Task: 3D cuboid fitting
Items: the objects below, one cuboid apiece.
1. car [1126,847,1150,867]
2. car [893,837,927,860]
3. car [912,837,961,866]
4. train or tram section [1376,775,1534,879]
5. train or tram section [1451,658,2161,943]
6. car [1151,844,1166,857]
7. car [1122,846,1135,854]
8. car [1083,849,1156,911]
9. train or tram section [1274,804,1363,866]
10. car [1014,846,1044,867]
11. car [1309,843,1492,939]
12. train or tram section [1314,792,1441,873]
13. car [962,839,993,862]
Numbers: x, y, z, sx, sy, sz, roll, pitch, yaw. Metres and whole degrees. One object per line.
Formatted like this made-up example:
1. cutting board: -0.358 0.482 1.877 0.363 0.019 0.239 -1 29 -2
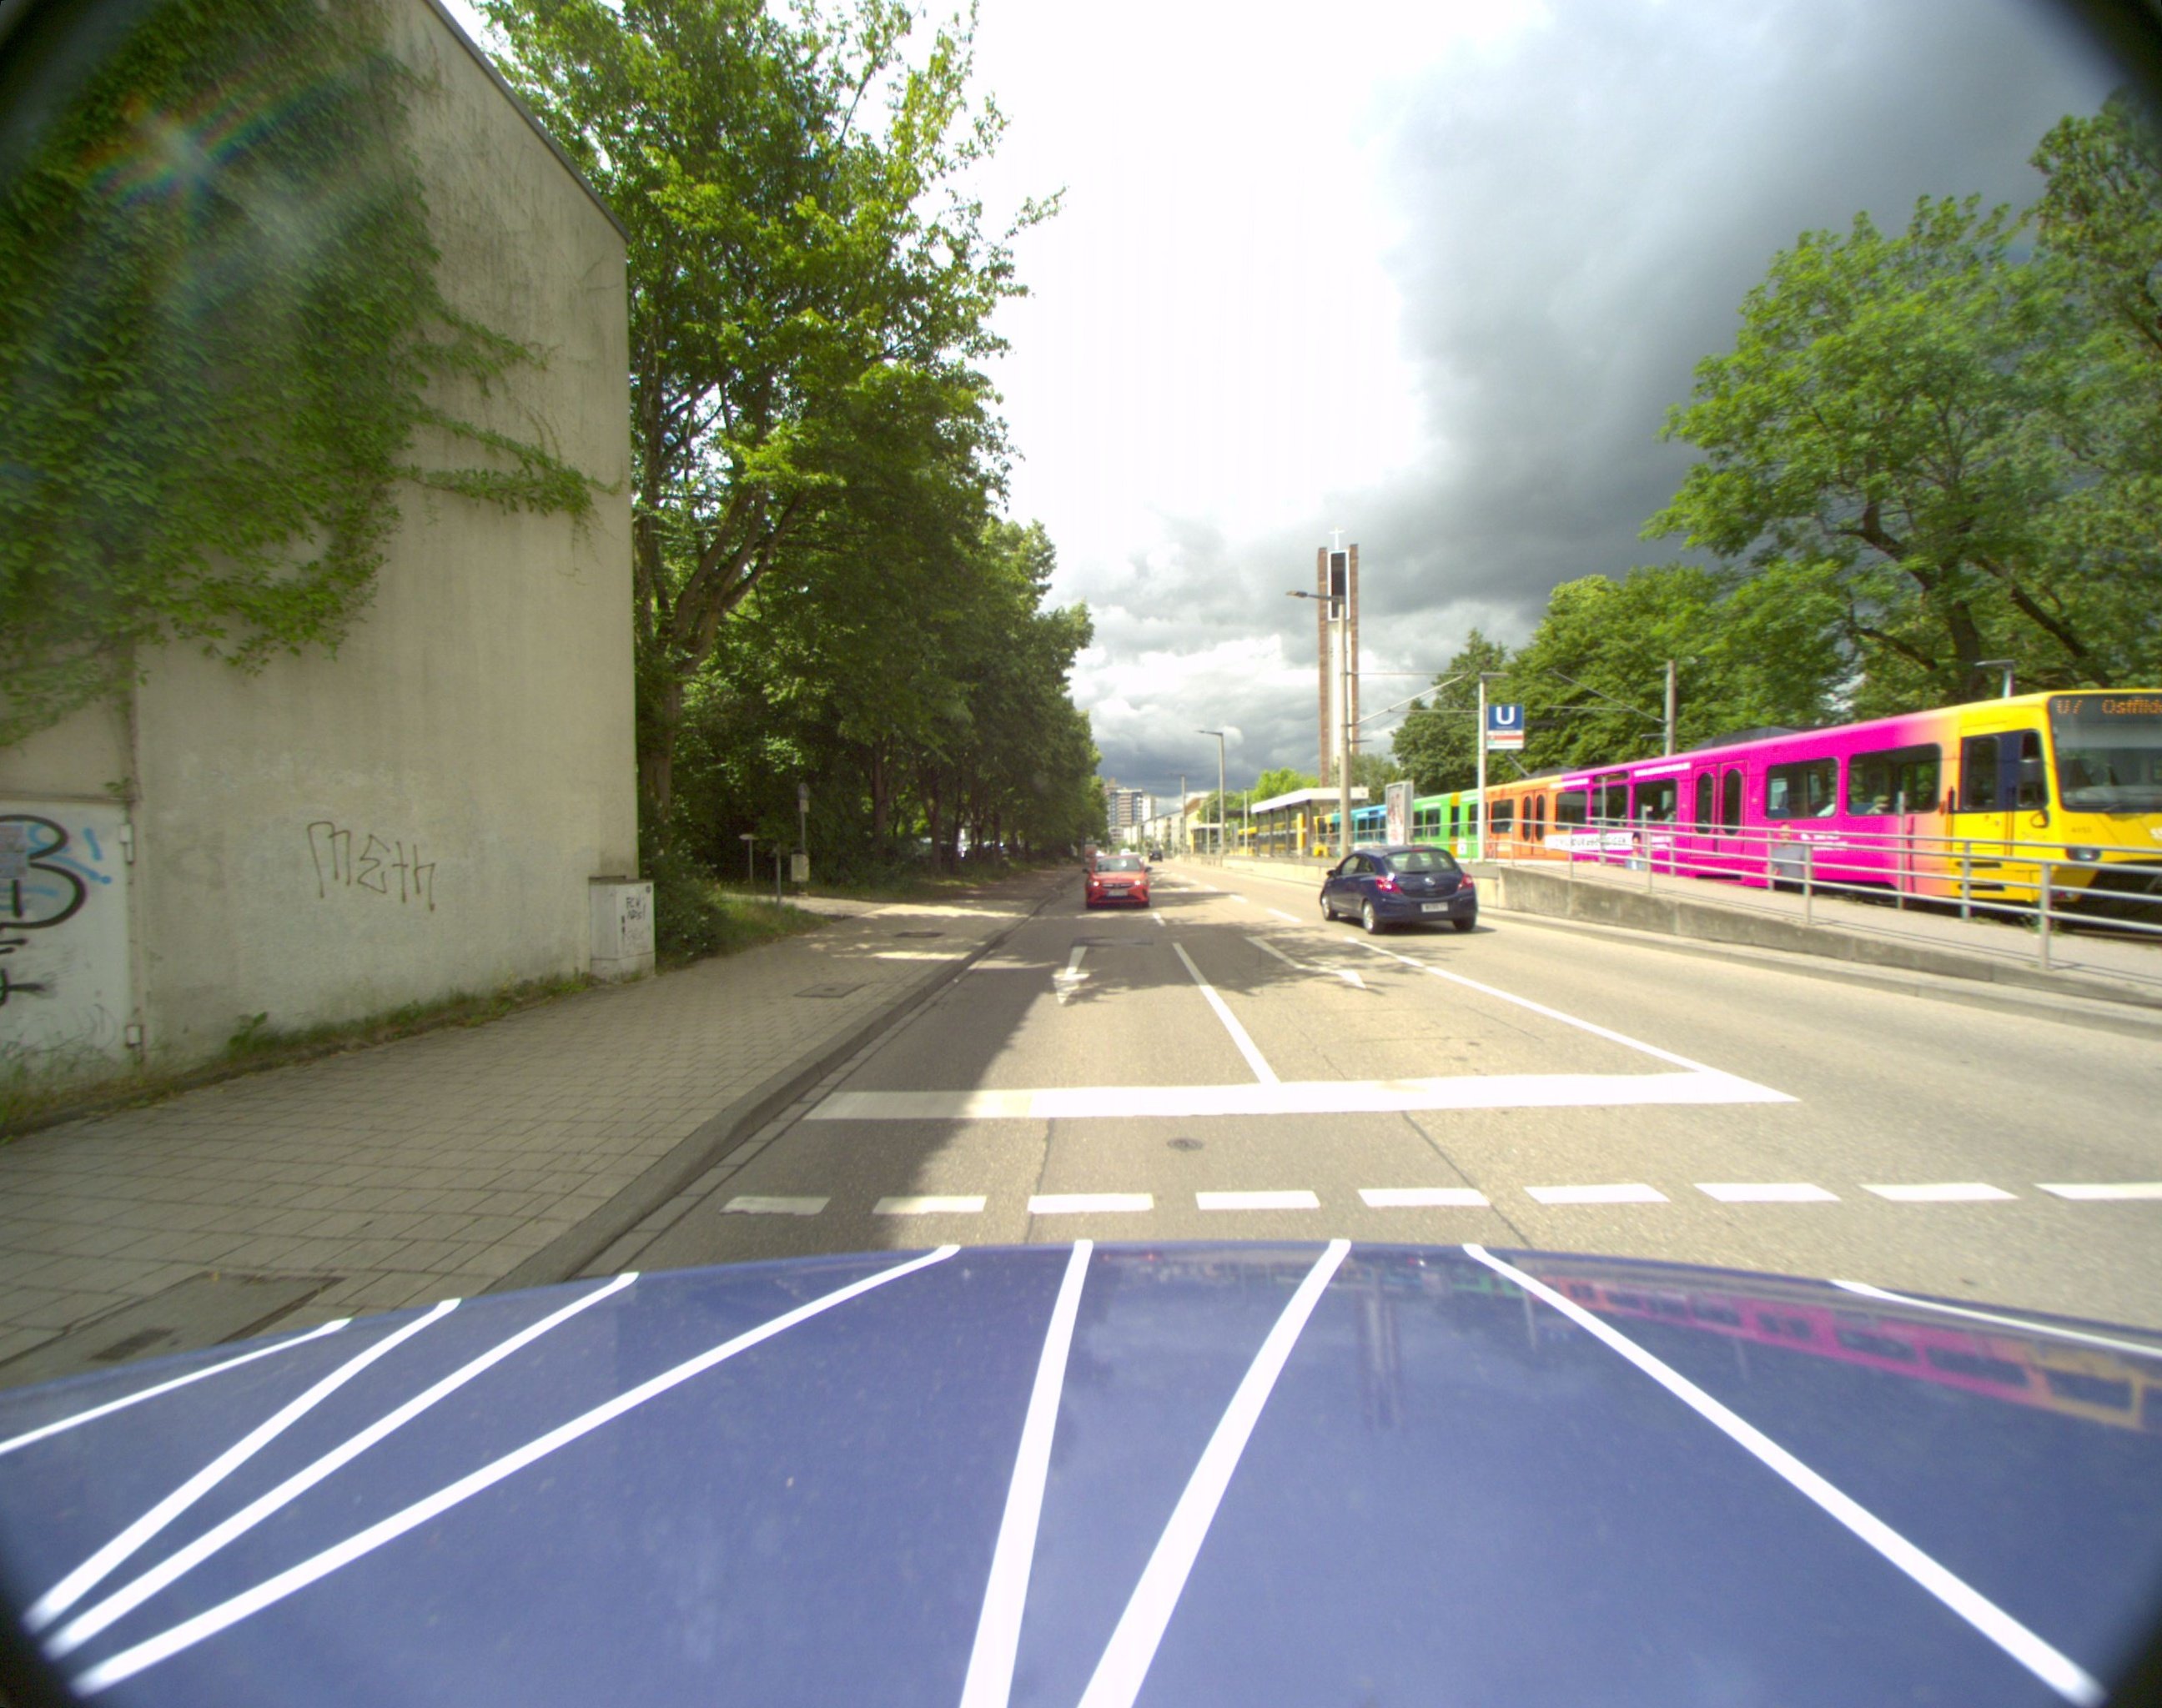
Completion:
1. car: 4.432 0.186 58.695 1.755 1.433 4.227 -2 1 4
2. car: -12.335 -0.404 54.903 1.656 1.533 3.675 -2 1 -1
3. car: -8.073 -0.150 42.784 1.755 1.533 3.677 -2 1 4
4. train or tram section: 15.854 -1.089 33.119 2.987 3.840 8.378 -2 1 3
5. train or tram section: 15.228 -0.888 19.649 2.987 3.840 18.538 -2 1 3
6. car: 9.920 -0.458 97.594 1.755 1.603 4.227 -2 1 4
7. car: 8.927 -0.799 142.666 1.821 1.433 4.007 -2 1 -4
8. car: 1.093 0.632 20.737 1.755 1.433 4.227 -2 1 4
9. train or tram section: 16.885 -1.326 55.144 2.987 3.840 12.201 -2 1 3
10. car: -4.209 0.184 62.045 1.655 1.533 3.678 -1 1 8
11. car: 5.552 0.551 13.775 1.722 1.433 4.009 -2 1 2
12. train or tram section: 16.360 -1.148 43.185 2.987 3.840 11.786 -2 1 3
13. car: -7.530 -0.294 55.477 1.756 1.533 4.225 -2 1 -2
